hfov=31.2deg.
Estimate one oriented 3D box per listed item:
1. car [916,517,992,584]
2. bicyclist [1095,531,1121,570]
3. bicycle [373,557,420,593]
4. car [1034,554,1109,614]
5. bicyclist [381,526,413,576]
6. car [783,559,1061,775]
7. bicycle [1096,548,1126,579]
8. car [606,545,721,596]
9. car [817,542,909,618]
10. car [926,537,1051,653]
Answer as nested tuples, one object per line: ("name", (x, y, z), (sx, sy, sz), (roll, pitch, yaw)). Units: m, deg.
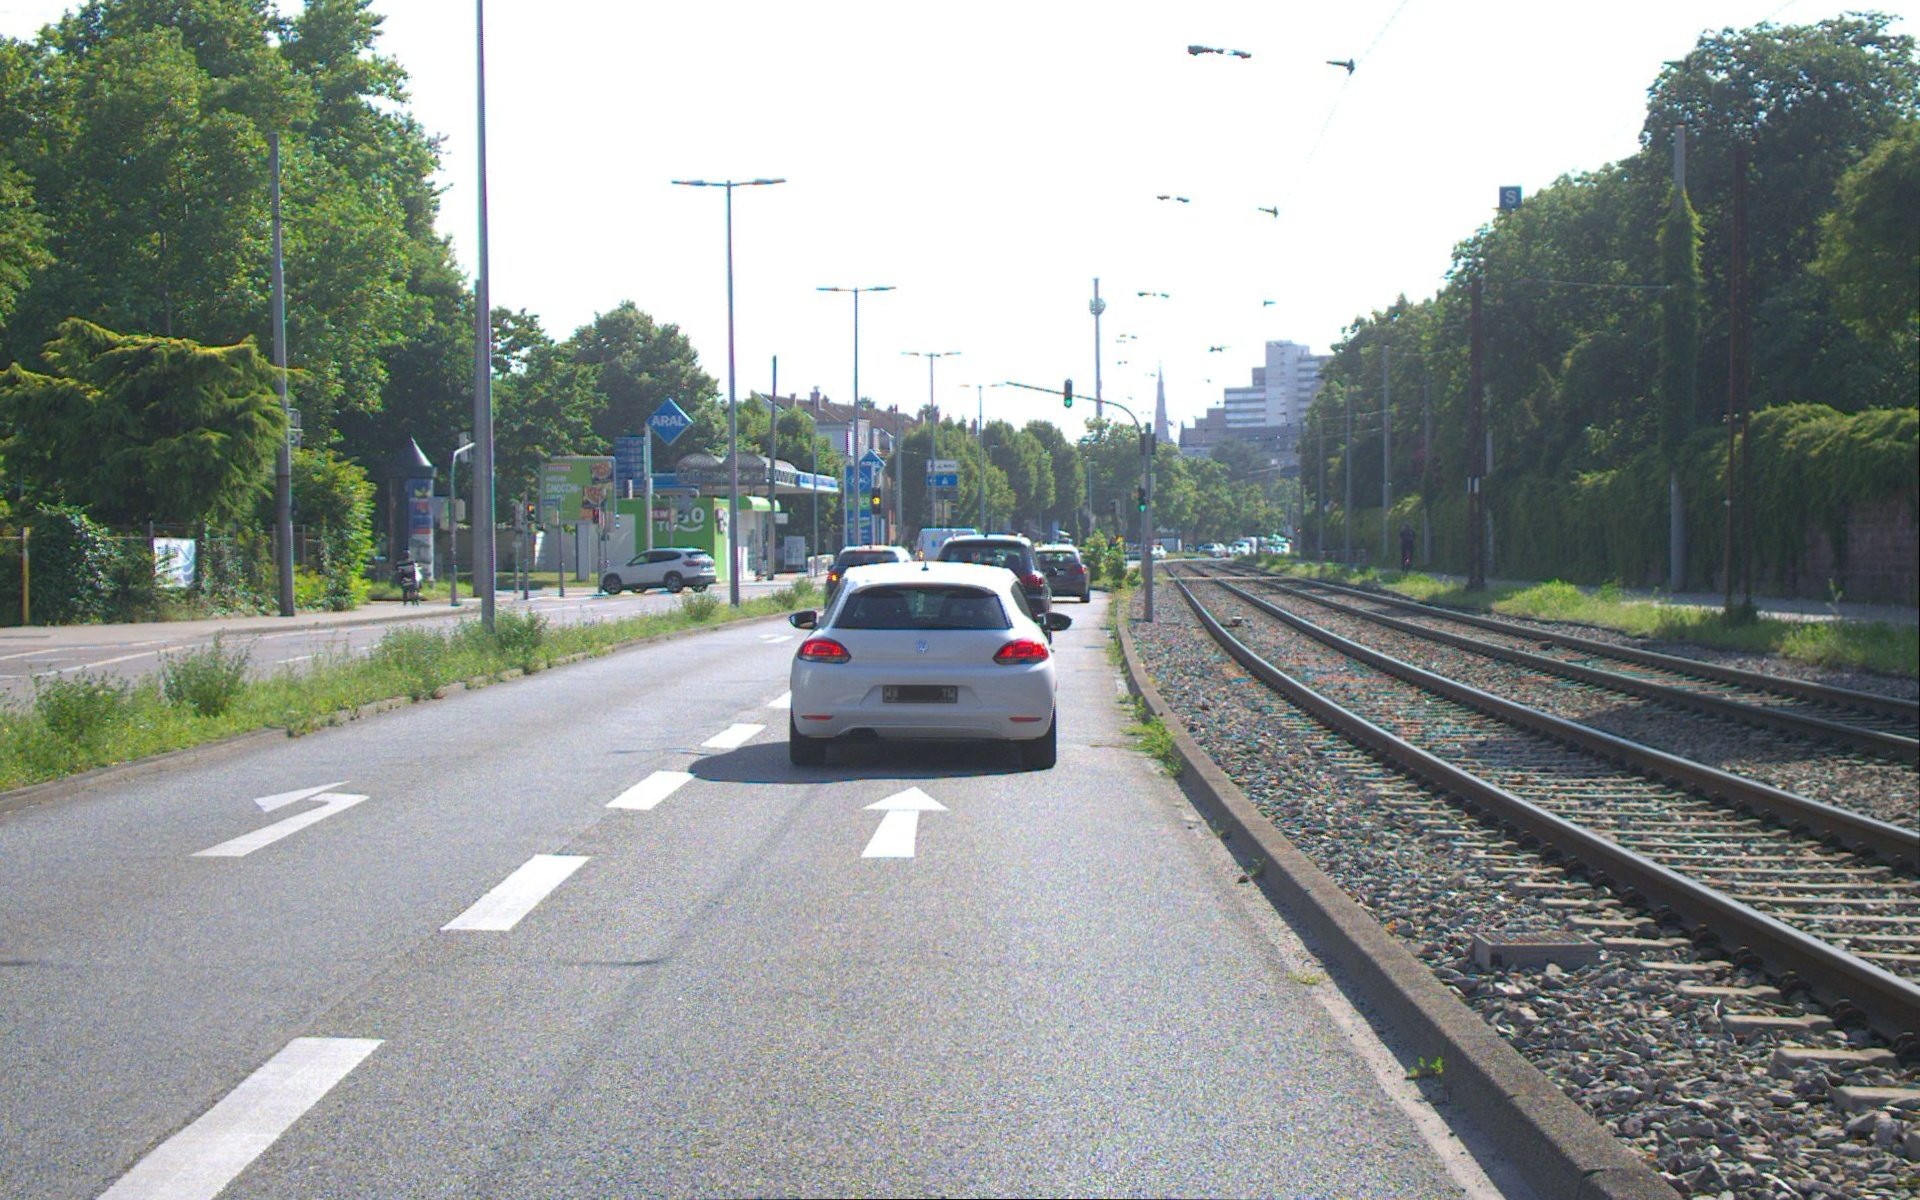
("car", (-0.198, -1.487, 103.500), (1.817, 1.956, 4.403), (0, 1, -6))
("bicyclist", (5.617, -1.874, 130.503), (0.644, 1.411, 1.012), (-6, -1, 18))
("bicycle", (-16.613, -0.745, 101.410), (0.662, 1.046, 2.580), (0, 1, 7))
("car", (2.857, -0.426, 88.715), (1.749, 1.480, 3.601), (1, 1, -1))
("bicyclist", (-16.613, -1.441, 101.473), (0.662, 1.447, 1.050), (0, 1, 7))
("car", (-0.233, 0.412, 24.215), (1.781, 1.351, 3.601), (1, 1, 0))
("bicycle", (5.725, -1.382, 130.558), (0.644, 1.150, 1.935), (-1, 1, 18))
("car", (-10.725, -1.065, 124.127), (3.947, 1.728, 1.652), (2, 1, 34))
("car", (-1.952, -0.436, 70.488), (1.760, 1.480, 4.645), (1, 1, -1))
("car", (0.382, -0.100, 49.936), (1.724, 1.587, 3.601), (1, 1, -1))
